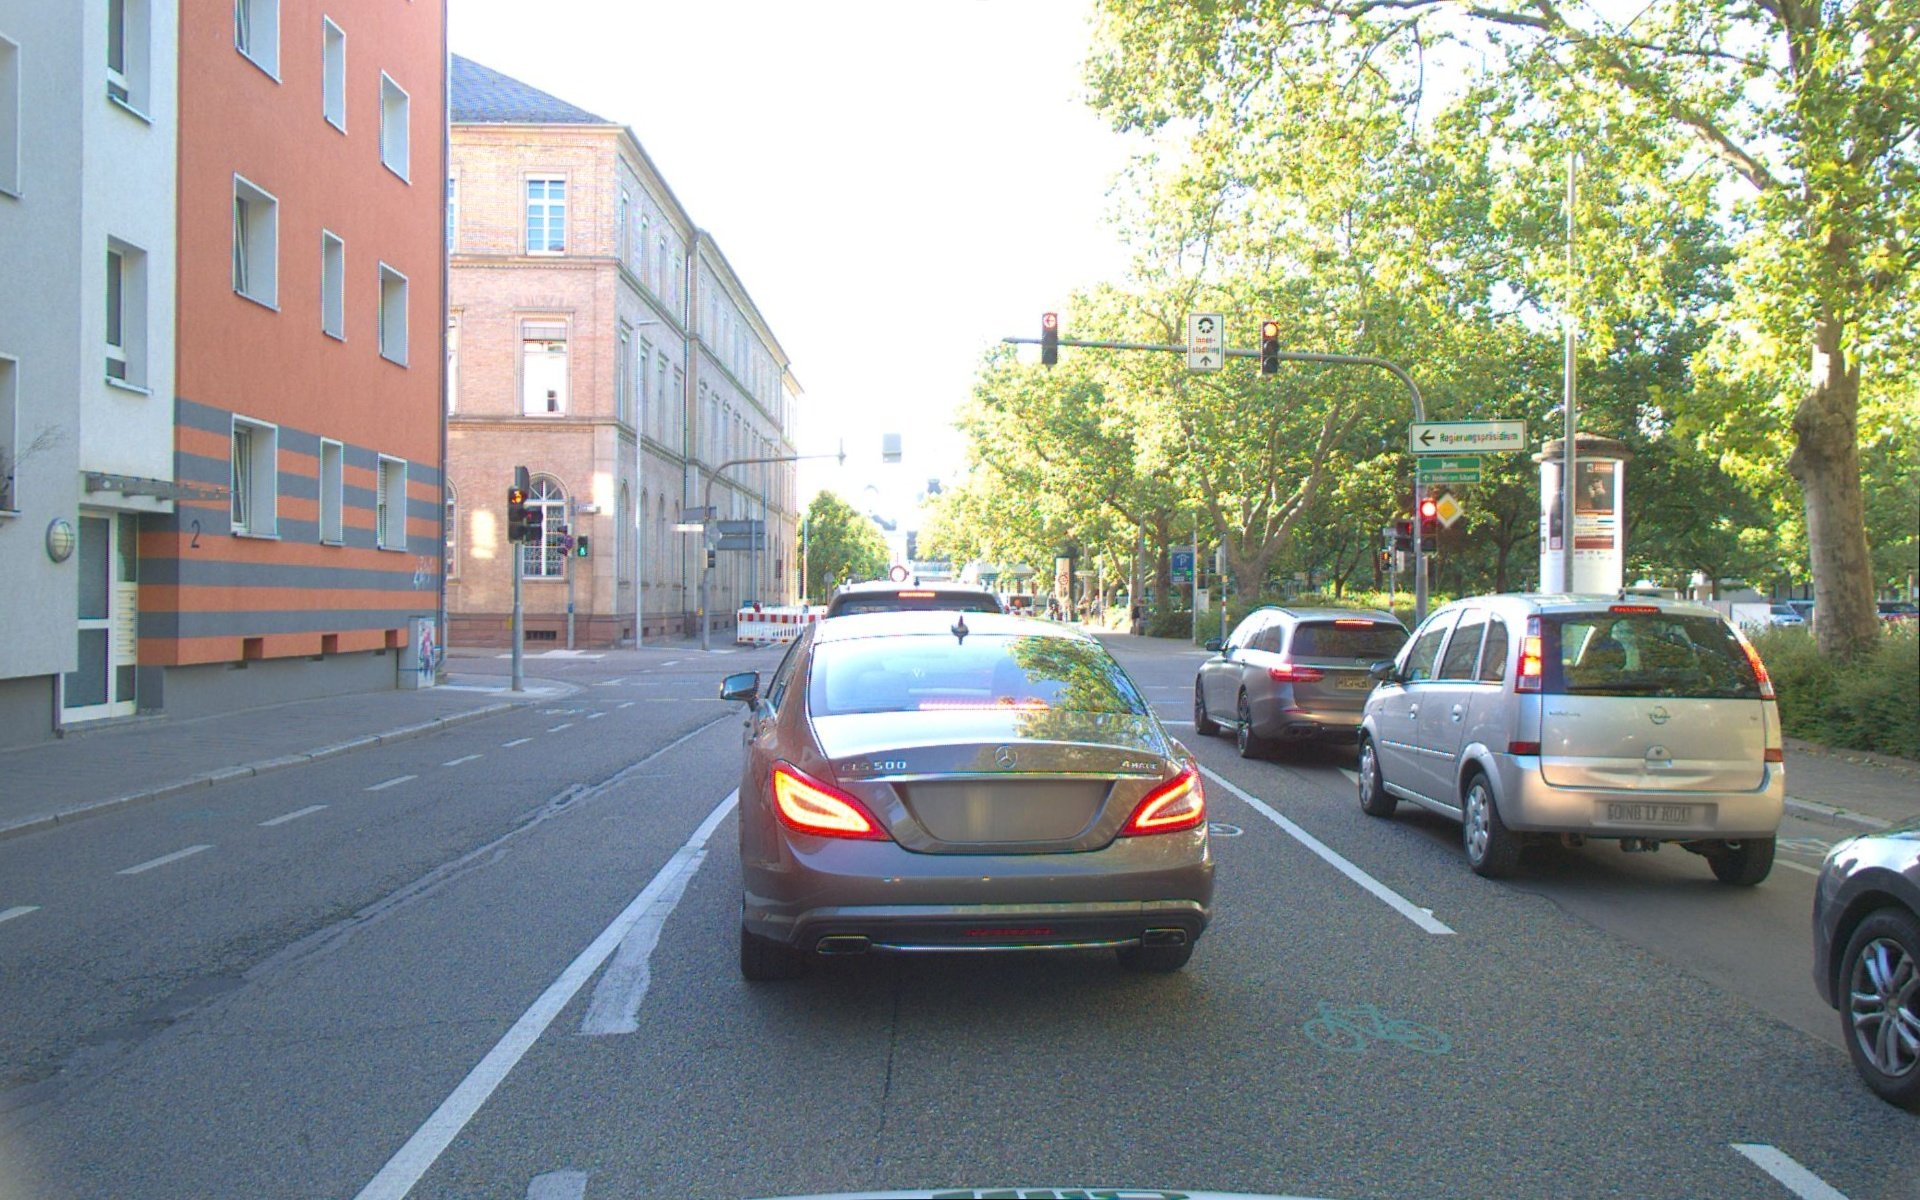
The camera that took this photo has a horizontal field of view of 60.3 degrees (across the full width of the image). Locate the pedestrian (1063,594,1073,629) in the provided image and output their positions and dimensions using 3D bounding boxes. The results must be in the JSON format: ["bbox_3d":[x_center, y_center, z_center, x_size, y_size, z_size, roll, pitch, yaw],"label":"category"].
[{"bbox_3d":[6.369,0.677,97.577,0.528,2.049,0.473,1,-1,-1],"label":"pedestrian"}]

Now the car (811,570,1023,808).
[{"bbox_3d":[-0.396,0.631,13.721,1.487,1.675,3.878,1,0,-3],"label":"car"}]

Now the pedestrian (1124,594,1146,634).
[{"bbox_3d":[7.139,0.561,67.356,0.813,1.634,0.651,1,0,-1],"label":"pedestrian"}]

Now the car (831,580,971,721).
[{"bbox_3d":[-0.780,0.645,23.231,1.783,1.793,3.999,0,0,-1],"label":"car"}]

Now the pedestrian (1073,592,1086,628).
[{"bbox_3d":[6.190,0.535,85.528,0.591,1.853,0.651,1,0,-1],"label":"pedestrian"}]

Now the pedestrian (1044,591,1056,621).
[{"bbox_3d":[5.565,0.371,102.182,0.687,1.870,0.736,1,0,-3],"label":"pedestrian"}]

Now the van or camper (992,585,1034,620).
[{"bbox_3d":[3.149,0.139,98.484,1.955,1.975,4.589,1,0,-5],"label":"van or camper"}]

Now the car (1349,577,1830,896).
[{"bbox_3d":[3.797,0.720,10.718,1.666,1.631,3.860,2,0,1],"label":"car"}]

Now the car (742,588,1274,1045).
[{"bbox_3d":[-0.104,0.702,7.651,1.769,1.482,4.343,1,0,-8],"label":"car"}]

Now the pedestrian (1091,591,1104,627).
[{"bbox_3d":[7.119,0.473,85.388,0.591,1.853,0.651,1,0,-1],"label":"pedestrian"}]

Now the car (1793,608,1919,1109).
[{"bbox_3d":[3.751,0.819,3.775,1.611,1.508,3.975,2,0,-1],"label":"car"}]

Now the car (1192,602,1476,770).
[{"bbox_3d":[3.756,0.787,17.495,1.874,1.490,4.668,1,0,-1],"label":"car"}]
